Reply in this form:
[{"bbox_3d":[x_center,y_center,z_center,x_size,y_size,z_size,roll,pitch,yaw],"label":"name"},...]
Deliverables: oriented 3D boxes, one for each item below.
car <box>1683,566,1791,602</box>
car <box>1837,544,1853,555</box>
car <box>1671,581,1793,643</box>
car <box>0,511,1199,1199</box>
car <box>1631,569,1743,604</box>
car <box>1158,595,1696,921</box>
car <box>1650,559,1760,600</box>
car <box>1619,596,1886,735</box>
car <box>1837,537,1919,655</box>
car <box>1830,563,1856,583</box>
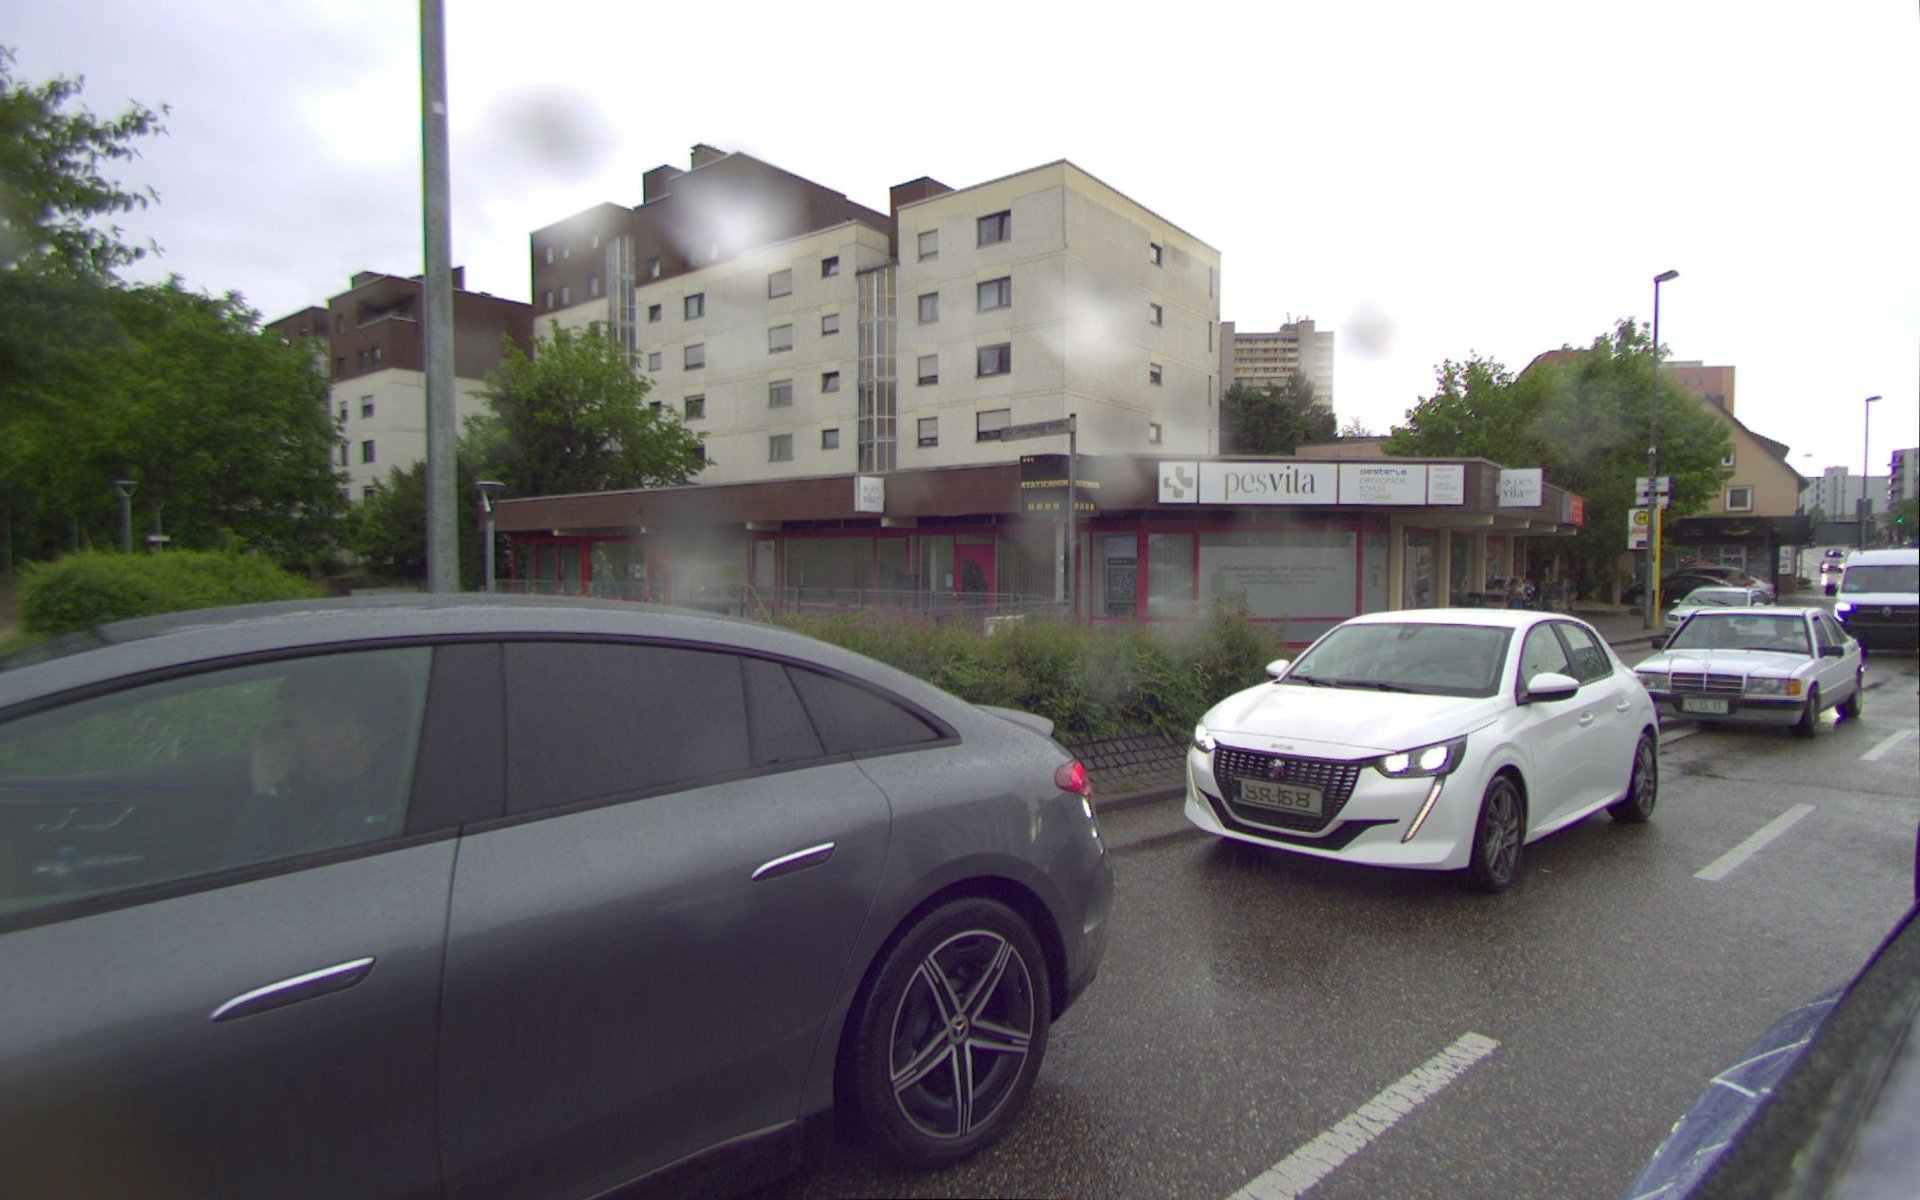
[{"bbox_3d":[37.074,-0.785,48.346,3.981,1.614,1.857,2,0,39],"label":"car"},{"bbox_3d":[139.813,-7.989,159.871,1.657,1.654,3.754,1,1,37],"label":"car"},{"bbox_3d":[20.330,0.261,26.593,3.930,1.509,1.787,-1,1,-41],"label":"car"},{"bbox_3d":[-1.581,0.623,2.463,4.724,1.485,1.840,0,-1,-41],"label":"car"},{"bbox_3d":[32.337,-0.620,45.062,3.981,1.445,1.858,2,2,39],"label":"car"},{"bbox_3d":[3.206,0.705,6.546,4.043,1.433,1.665,-1,1,-41],"label":"car"},{"bbox_3d":[34.203,-0.967,46.499,3.981,1.801,1.858,2,2,39],"label":"car"},{"bbox_3d":[9.675,0.651,12.245,4.089,1.362,1.787,-1,1,-41],"label":"car"},{"bbox_3d":[22.789,-0.153,24.177,6.021,2.549,2.194,-2,2,-43],"label":"car"},{"bbox_3d":[92.348,-2.845,105.800,1.992,2.039,3.940,0,1,42],"label":"car"}]
